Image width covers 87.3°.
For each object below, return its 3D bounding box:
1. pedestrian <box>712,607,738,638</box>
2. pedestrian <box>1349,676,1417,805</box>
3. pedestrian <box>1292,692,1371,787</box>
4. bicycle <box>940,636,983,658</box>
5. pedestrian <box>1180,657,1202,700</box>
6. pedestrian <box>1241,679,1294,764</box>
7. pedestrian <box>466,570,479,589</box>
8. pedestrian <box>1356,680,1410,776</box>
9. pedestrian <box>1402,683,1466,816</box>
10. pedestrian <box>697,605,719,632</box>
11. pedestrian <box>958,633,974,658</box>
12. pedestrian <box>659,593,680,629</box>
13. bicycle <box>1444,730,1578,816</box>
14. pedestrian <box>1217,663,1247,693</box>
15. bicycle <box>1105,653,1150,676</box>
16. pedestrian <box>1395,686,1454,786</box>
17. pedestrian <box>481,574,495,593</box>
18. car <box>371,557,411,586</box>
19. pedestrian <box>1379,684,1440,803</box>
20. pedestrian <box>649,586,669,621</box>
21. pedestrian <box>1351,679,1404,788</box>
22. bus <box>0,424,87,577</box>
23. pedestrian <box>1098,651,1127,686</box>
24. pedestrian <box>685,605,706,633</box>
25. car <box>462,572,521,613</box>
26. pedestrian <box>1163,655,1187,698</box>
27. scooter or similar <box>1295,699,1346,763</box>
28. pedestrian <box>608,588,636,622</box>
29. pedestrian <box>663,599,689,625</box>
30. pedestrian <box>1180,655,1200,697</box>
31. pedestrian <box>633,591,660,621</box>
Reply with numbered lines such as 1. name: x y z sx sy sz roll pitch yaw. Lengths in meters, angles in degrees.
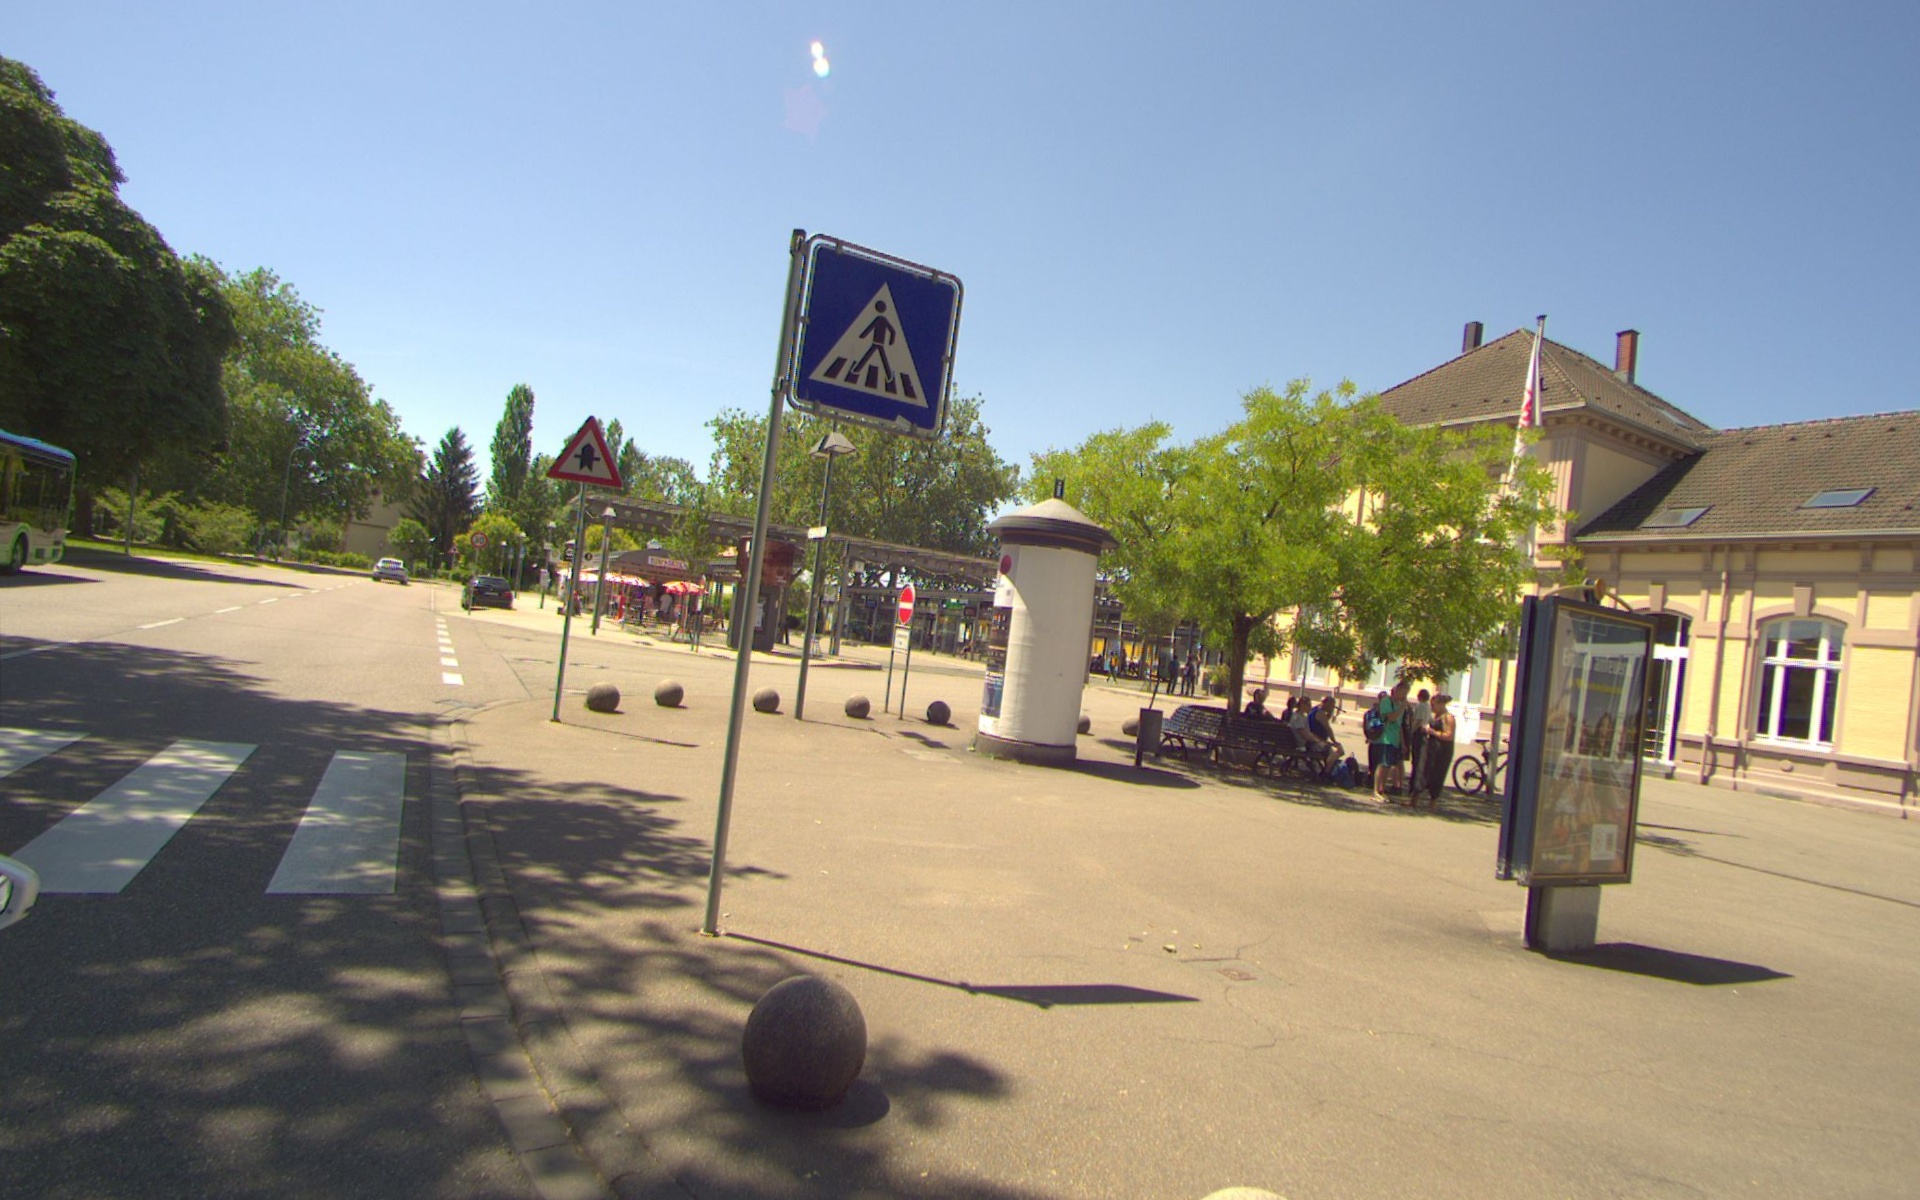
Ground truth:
1. pedestrian: -10.637 1.023 45.531 0.837 1.292 0.890 8 -1 -24
2. pedestrian: 6.210 2.051 14.771 0.577 1.784 0.691 7 -1 38
3. pedestrian: 6.161 2.294 16.681 0.928 1.402 0.911 6 -1 32
4. bicycle: 0.110 3.167 67.794 2.769 1.014 0.805 11 -4 -31
5. pedestrian: 10.399 3.509 45.287 0.621 1.831 0.595 7 0 -7
6. pedestrian: 5.373 2.123 17.589 0.590 1.381 0.598 7 0 33
7. pedestrian: -45.548 -1.908 93.917 0.626 1.667 0.752 7 -3 0
8. pedestrian: 7.980 2.414 18.974 0.551 1.705 0.581 8 -1 -40
9. pedestrian: 6.689 2.092 14.185 0.539 1.760 0.626 7 -1 36
10. pedestrian: -12.717 0.935 50.769 0.753 1.218 0.732 10 -3 -28
11. pedestrian: 0.349 2.775 61.629 0.619 1.411 0.672 6 -1 -29
12. pedestrian: -15.008 0.577 51.967 0.681 1.757 0.702 8 -2 -28
13. bicycle: 9.176 2.866 16.834 0.417 1.072 1.934 7 -2 -30
14. pedestrian: 13.181 3.779 48.722 0.964 1.370 1.047 3 -1 41
15. bicycle: 10.686 4.084 63.979 2.769 1.014 0.960 11 -4 -31
16. pedestrian: 8.366 2.451 18.121 0.615 1.705 0.584 8 -1 -41
17. pedestrian: -45.077 -1.575 96.028 0.709 1.667 0.752 7 -3 0
18. car: -39.043 -1.967 69.127 1.966 1.646 4.748 8 -1 -26
19. pedestrian: 7.130 2.264 15.955 0.591 1.760 0.583 7 -1 36
20. pedestrian: -15.931 0.203 53.216 0.681 1.758 0.702 7 -1 -28
21. pedestrian: 7.095 2.257 17.097 0.561 1.760 0.511 7 -1 32
22. bus: -21.980 -2.303 20.906 2.786 3.321 12.339 8 -2 -28
23. pedestrian: 7.683 3.442 50.611 0.917 1.609 0.848 8 -1 -35
24. pedestrian: -12.307 0.891 46.763 0.680 1.174 0.890 8 -1 -24
25. car: -20.007 -0.350 42.879 1.910 1.478 4.692 5 -1 -29
26. pedestrian: 9.667 3.424 45.184 0.678 1.831 0.631 7 0 -7
27. scooter or similar: 6.969 2.545 19.451 1.019 1.152 0.291 8 -1 -36
28. pedestrian: -16.000 0.244 47.585 0.676 1.434 0.895 7 -1 24
29. pedestrian: -14.183 0.607 50.280 0.676 1.174 0.894 7 -1 27
30. pedestrian: 10.519 3.484 46.012 0.542 1.831 0.498 7 0 -8
31. pedestrian: -15.472 0.284 49.674 0.676 1.328 0.894 7 -1 27
